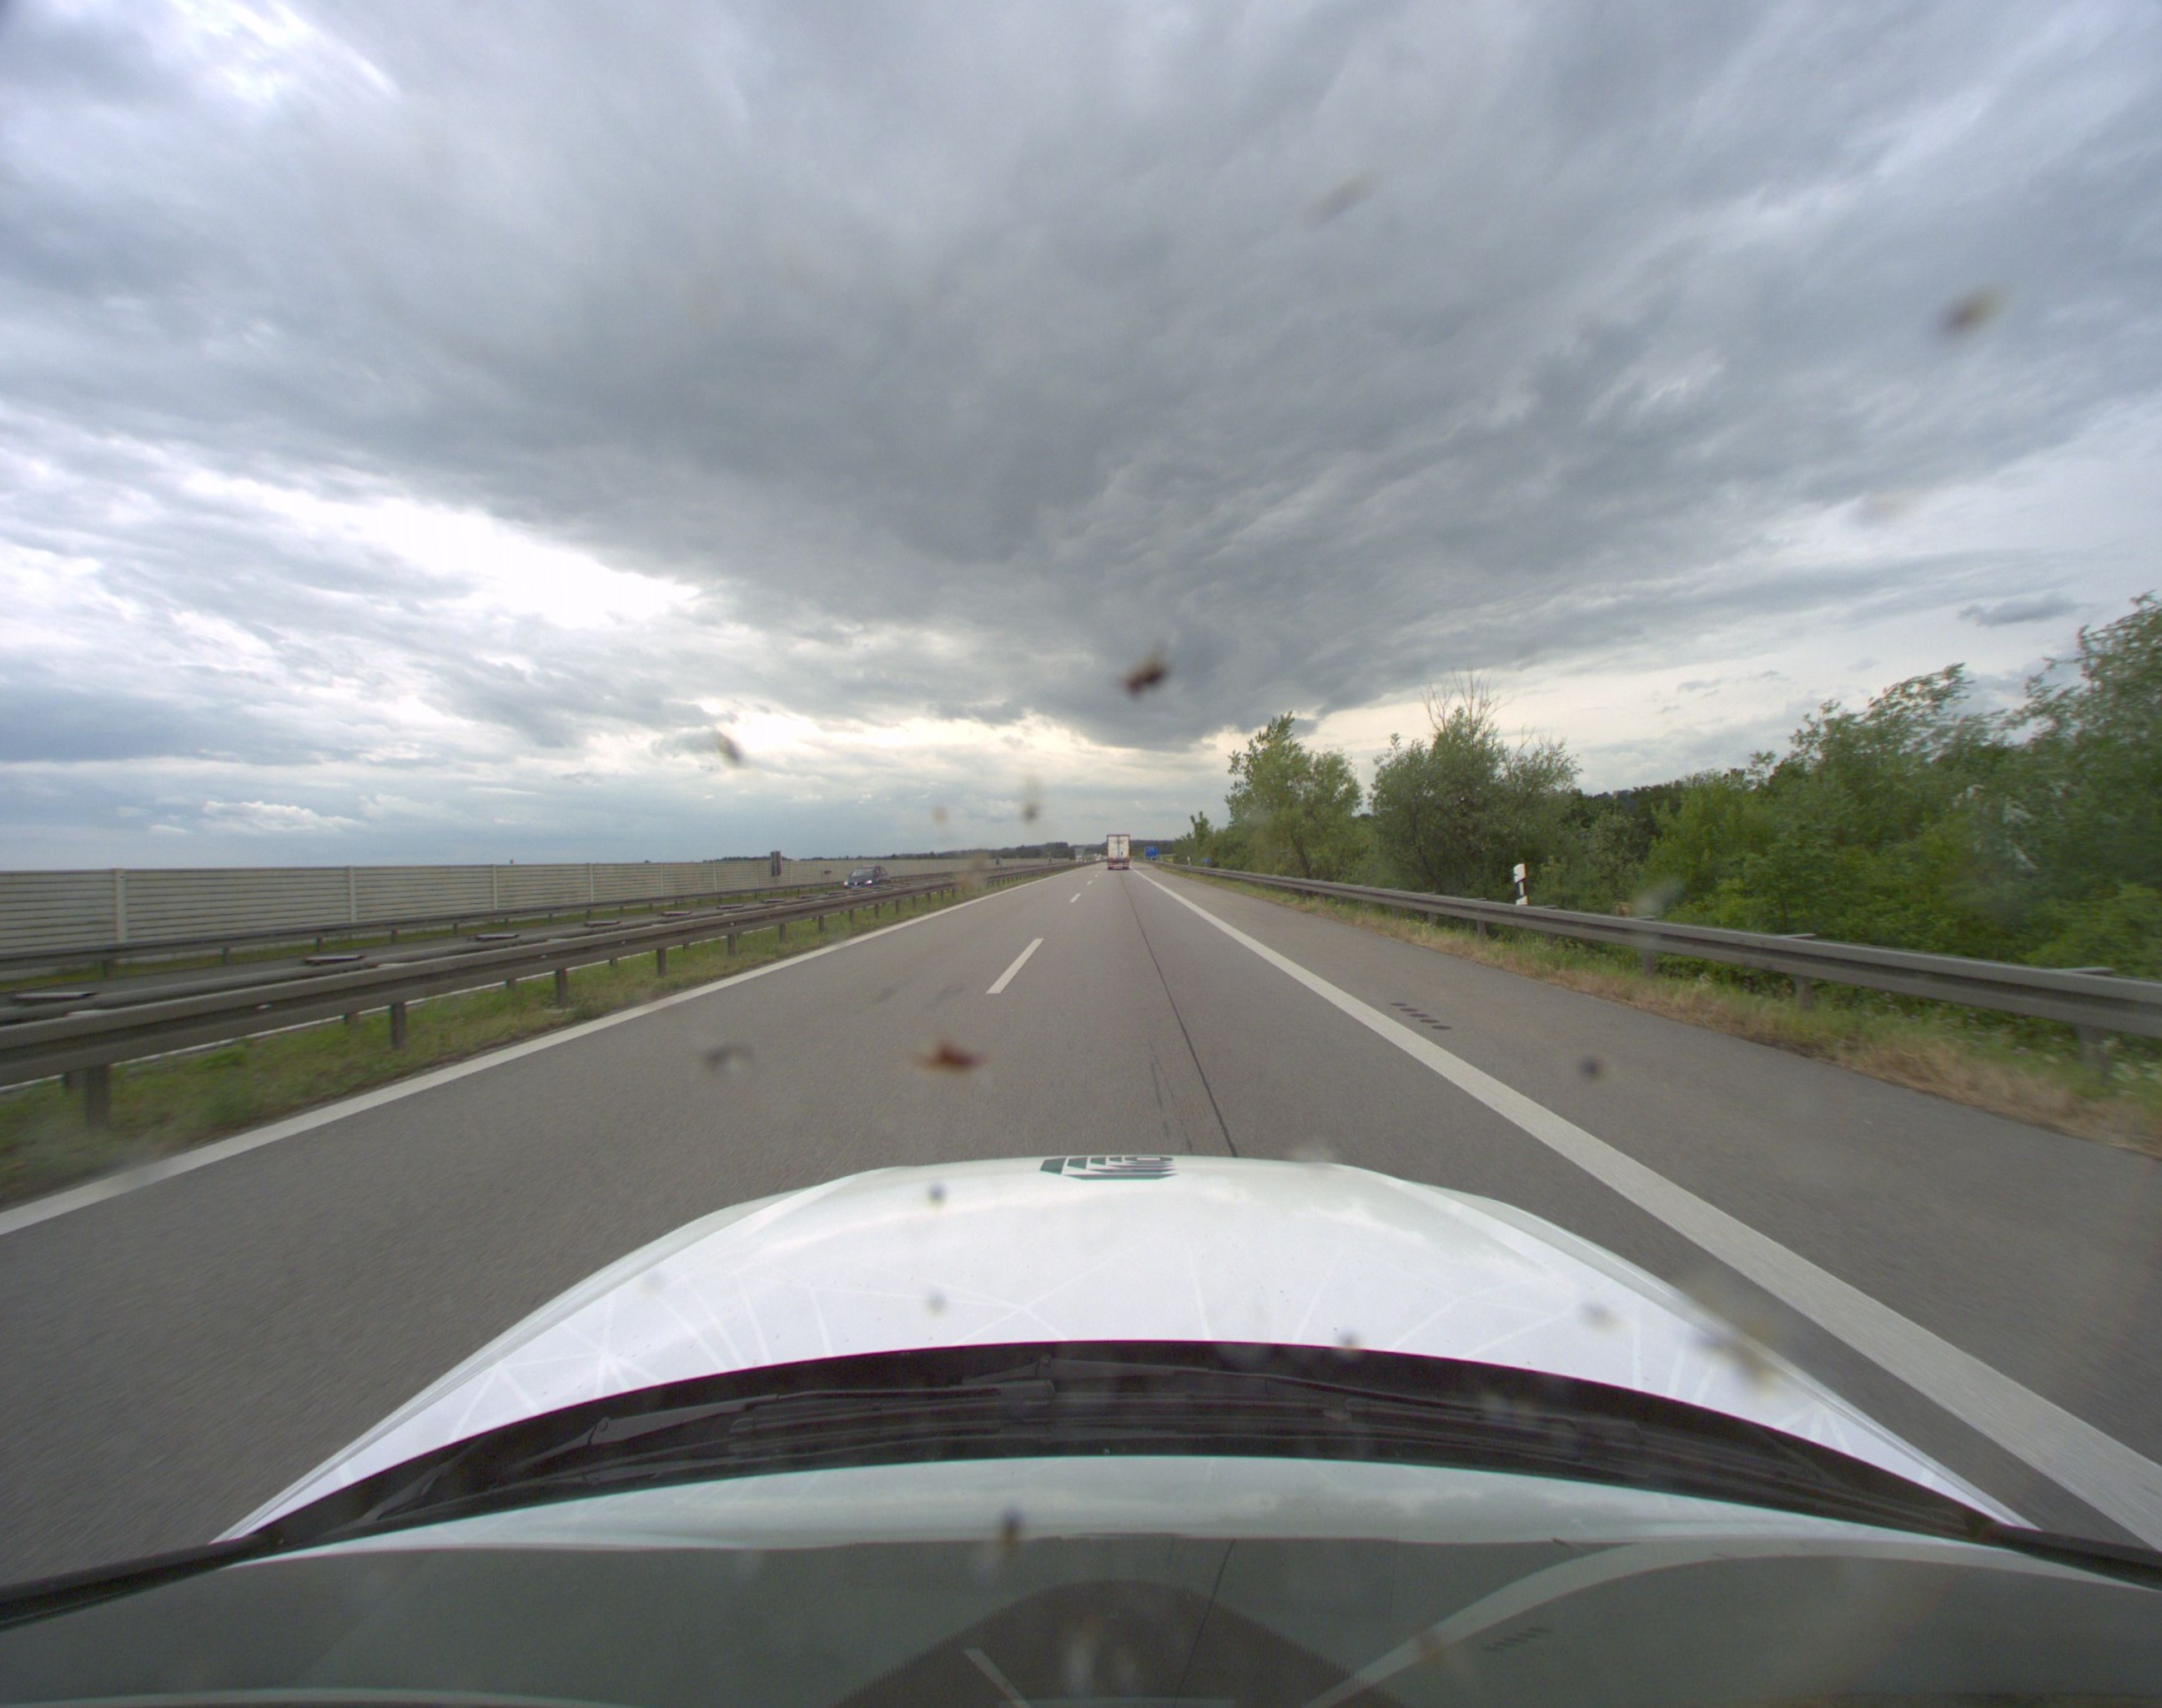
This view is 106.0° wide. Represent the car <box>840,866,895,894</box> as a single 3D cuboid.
[{"bbox_3d":[-12.045,1.440,46.290,1.652,1.328,4.611,-6,0,2],"label":"car"}]

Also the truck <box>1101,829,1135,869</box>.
[{"bbox_3d":[4.391,-0.528,100.093,3.659,4.412,16.346,-2,0,2],"label":"truck"}]
